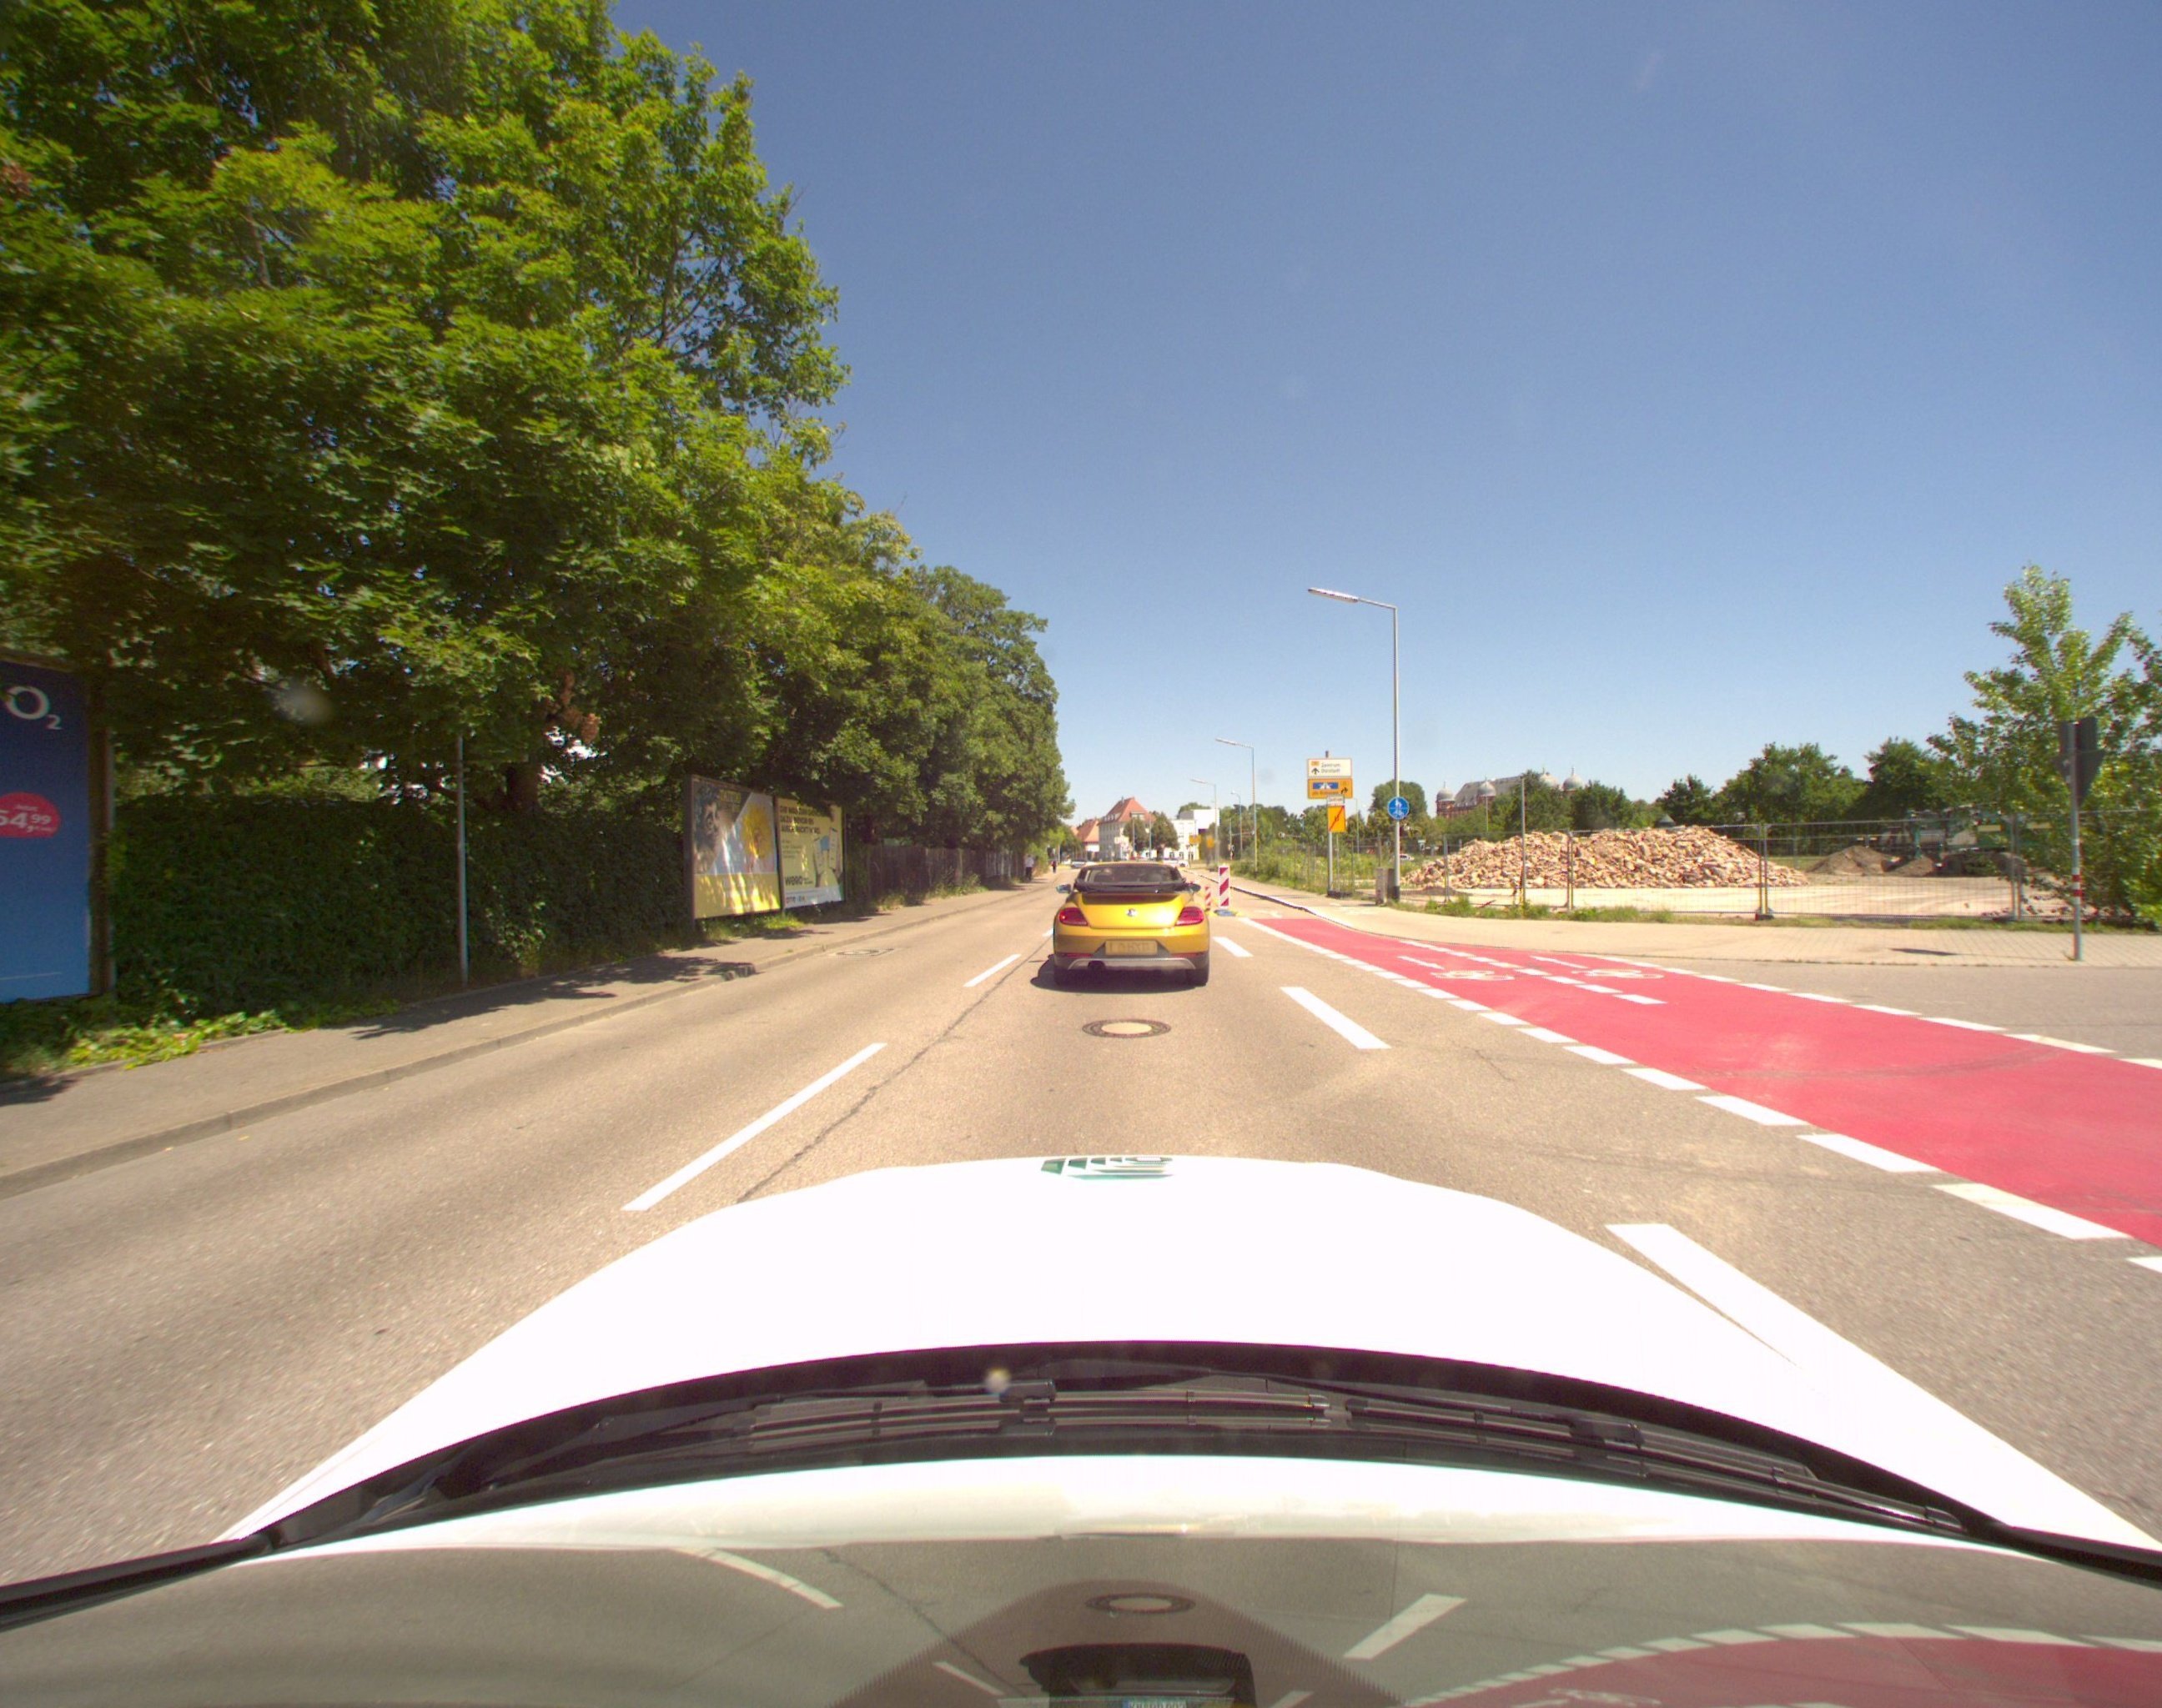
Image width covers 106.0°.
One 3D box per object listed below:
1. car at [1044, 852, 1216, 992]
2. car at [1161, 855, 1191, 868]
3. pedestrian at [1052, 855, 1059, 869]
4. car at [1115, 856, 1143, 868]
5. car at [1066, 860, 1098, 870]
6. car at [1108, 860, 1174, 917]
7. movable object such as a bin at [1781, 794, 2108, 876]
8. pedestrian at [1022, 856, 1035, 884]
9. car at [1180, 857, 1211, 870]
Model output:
[{"bbox_3d":[0.620,0.728,10.592,1.782,1.436,3.817,-2,0,3],"label":"car"},{"bbox_3d":[13.687,1.115,117.110,4.037,1.677,1.790,-2,0,12],"label":"car"},{"bbox_3d":[-2.806,0.871,88.721,0.720,1.454,0.818,-2,-1,0],"label":"pedestrian"},{"bbox_3d":[7.500,1.200,126.374,4.039,1.677,1.789,-2,0,9],"label":"car"},{"bbox_3d":[0.196,1.597,120.228,4.413,1.358,1.541,-2,0,9],"label":"car"},{"bbox_3d":[1.757,0.925,23.577,1.718,1.443,4.005,-2,0,5],"label":"car"},{"bbox_3d":[40.520,-0.762,39.226,4.919,3.260,10.477,-2,0,3],"label":"movable object such as a bin"},{"bbox_3d":[-3.268,0.975,50.724,0.720,1.725,0.818,-2,-1,0],"label":"pedestrian"},{"bbox_3d":[15.727,1.288,111.563,3.958,1.613,1.798,-2,-1,14],"label":"car"}]
